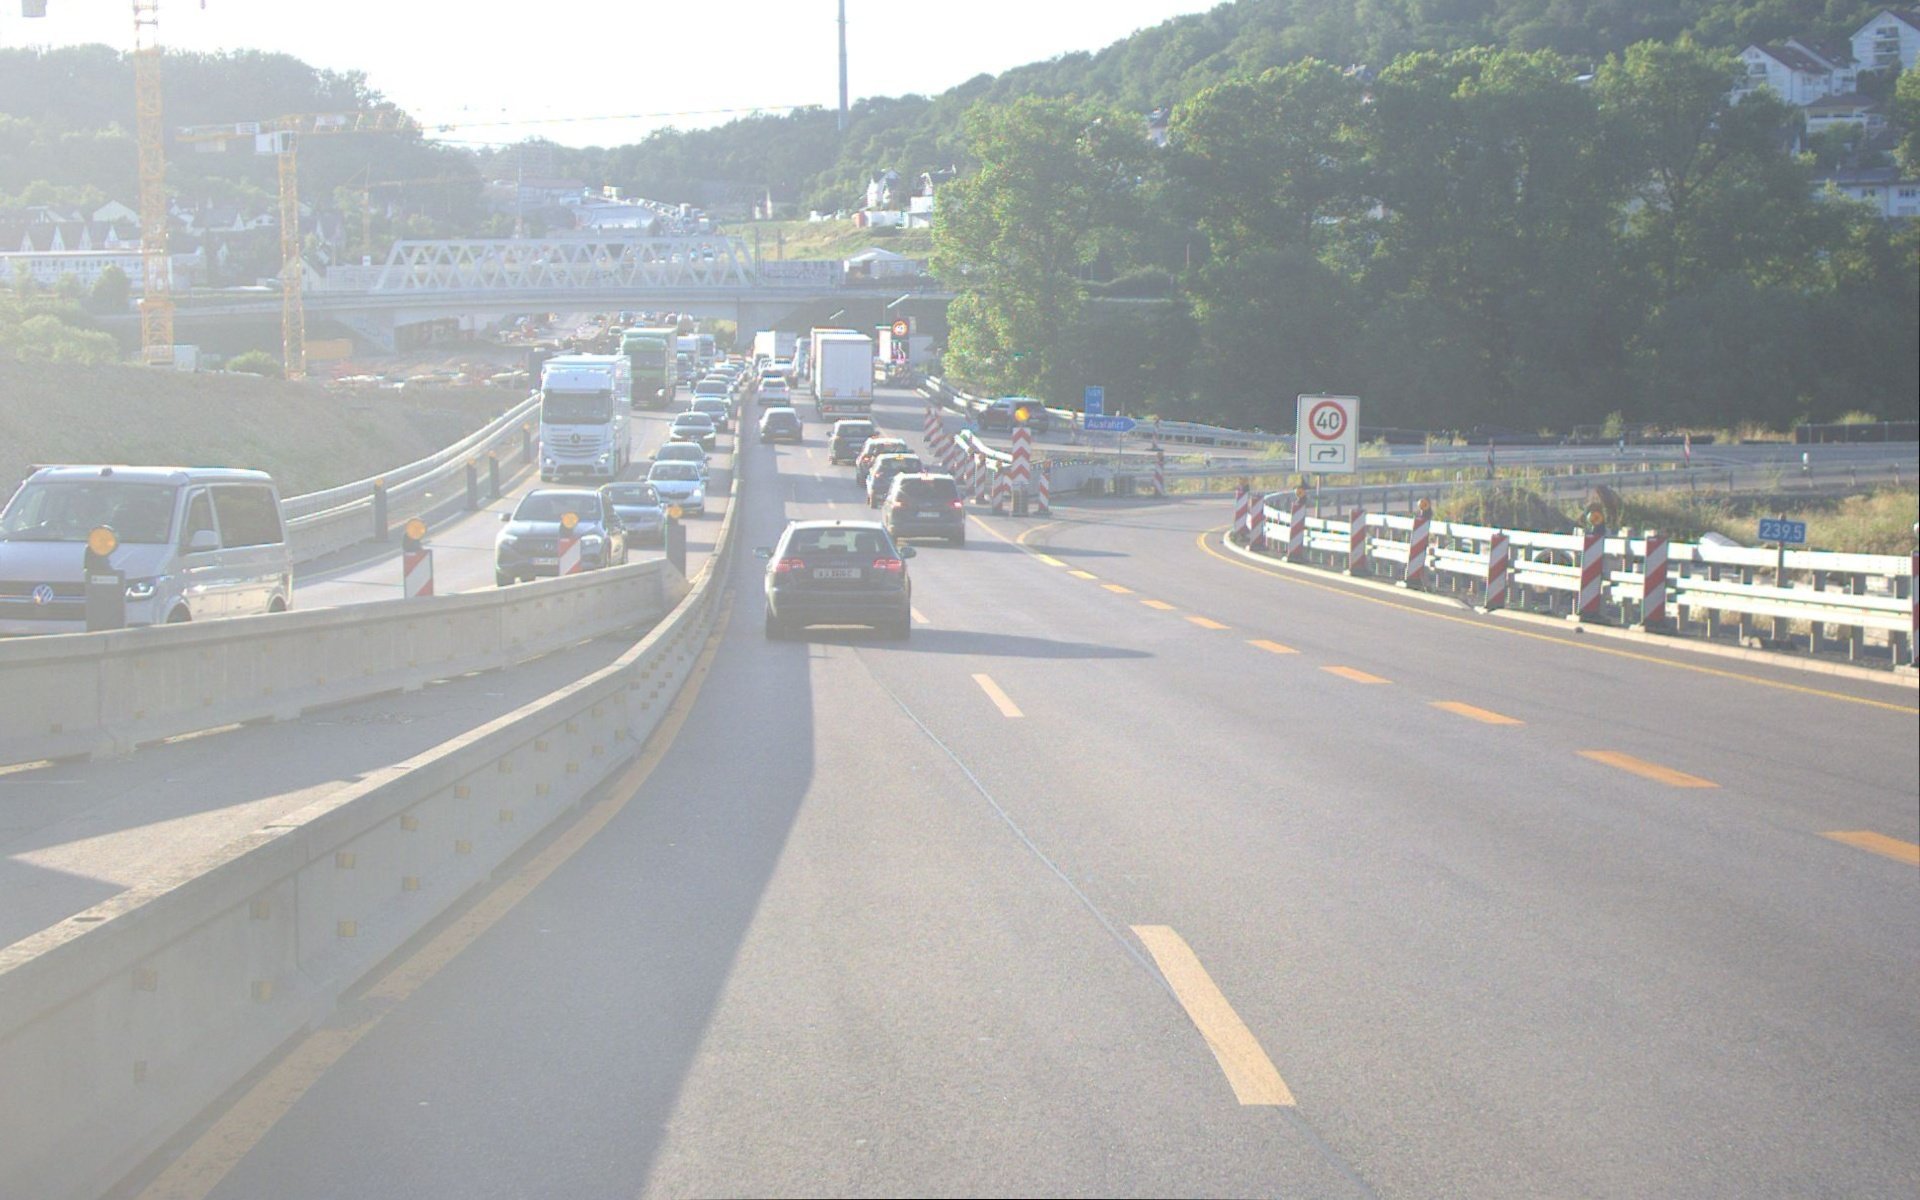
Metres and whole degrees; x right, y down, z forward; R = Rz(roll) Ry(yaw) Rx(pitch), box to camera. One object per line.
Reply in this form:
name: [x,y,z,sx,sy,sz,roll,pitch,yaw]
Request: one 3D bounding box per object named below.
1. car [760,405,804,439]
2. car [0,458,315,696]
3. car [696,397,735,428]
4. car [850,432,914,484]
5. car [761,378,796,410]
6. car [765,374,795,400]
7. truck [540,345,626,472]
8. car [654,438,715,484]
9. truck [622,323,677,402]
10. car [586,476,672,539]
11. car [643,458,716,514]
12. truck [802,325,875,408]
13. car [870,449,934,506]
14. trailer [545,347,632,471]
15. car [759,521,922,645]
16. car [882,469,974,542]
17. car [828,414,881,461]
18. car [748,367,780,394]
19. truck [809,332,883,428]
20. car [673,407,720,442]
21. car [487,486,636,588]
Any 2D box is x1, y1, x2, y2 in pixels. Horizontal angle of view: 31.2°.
car: [-7.624,-7.660,147.773,1.863,1.415,4.001,1,3,-3]
car: [-7.636,-0.264,32.102,1.994,2.007,5.257,1,1,2]
car: [-11.250,-8.648,158.394,1.715,1.404,4.329,0,3,-3]
car: [-2.613,-4.748,114.444,1.875,1.593,4.968,0,4,-4]
car: [-9.960,-11.308,188.790,1.923,1.546,4.001,1,1,-3]
car: [-11.959,-14.142,228.216,1.923,1.546,4.001,1,1,-3]
truck: [-12.981,-6.599,118.783,2.552,4.206,6.052,1,2,-3]
car: [-9.078,-4.612,113.583,1.849,1.478,4.512,0,3,-2]
truck: [-16.429,-12.593,182.086,2.769,4.066,5.778,1,4,-5]
car: [-7.487,-2.116,78.007,1.788,1.353,4.636,1,2,-4]
car: [-7.800,-3.175,95.778,1.788,1.483,4.220,1,2,-2]
truck: [-7.239,-13.876,203.160,3.890,4.481,15.273,1,5,-3]
car: [-1.730,-3.577,101.154,1.774,1.580,4.135,1,1,-2]
trailer: [-13.428,-6.869,125.005,2.530,4.198,13.938,1,3,-4]
car: [-1.509,-0.245,42.031,1.769,1.385,4.001,1,2,-5]
car: [-0.774,-2.173,79.413,1.812,1.609,4.527,1,1,-4]
car: [-4.035,-6.204,131.055,1.814,1.626,4.413,1,4,-4]
car: [-12.101,-13.553,212.350,1.923,1.546,4.001,1,3,-3]
truck: [-5.842,-11.192,173.356,3.385,4.482,15.273,1,5,-3]
car: [-10.913,-7.274,142.597,1.836,1.404,4.496,0,3,-3]
car: [-6.690,-1.095,58.131,1.789,1.614,4.874,1,2,2]
